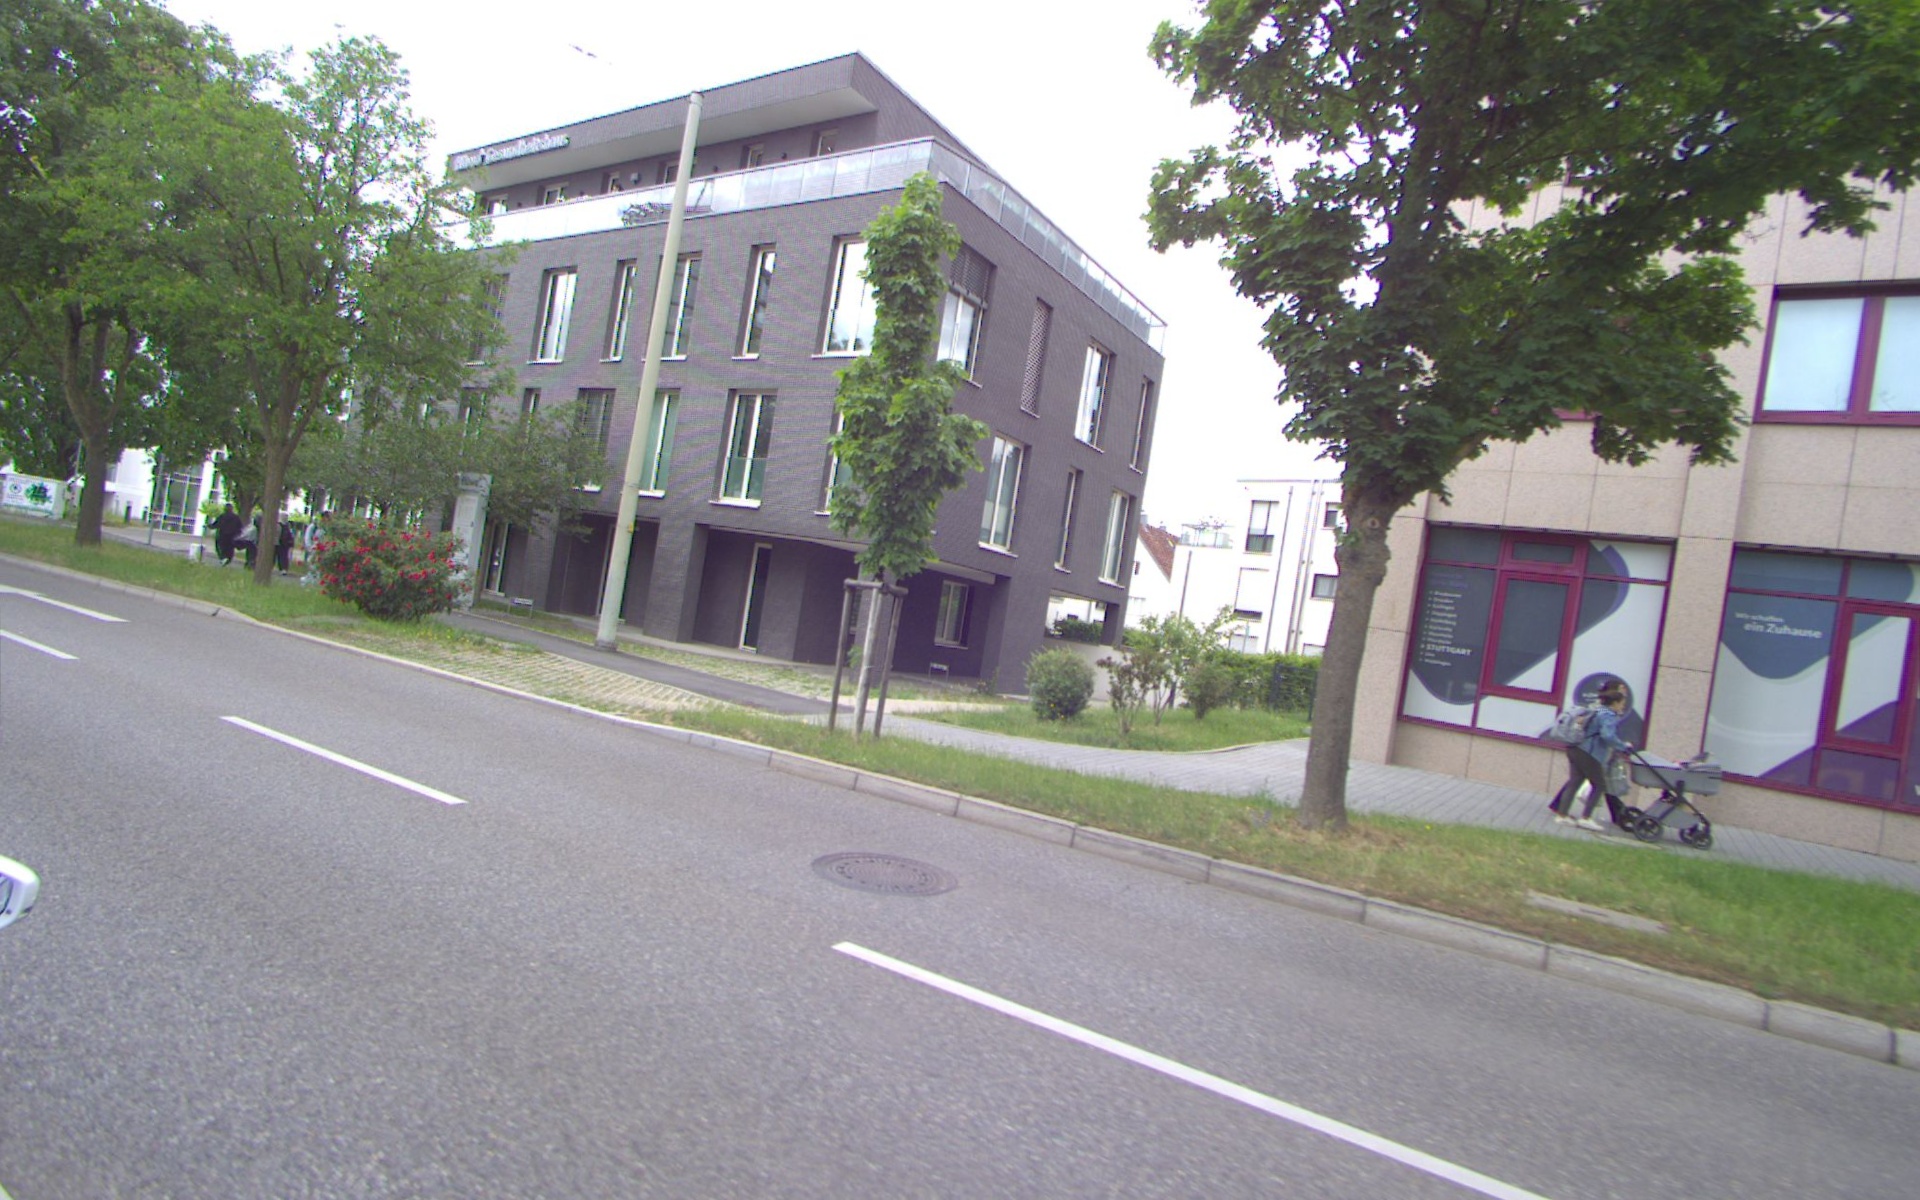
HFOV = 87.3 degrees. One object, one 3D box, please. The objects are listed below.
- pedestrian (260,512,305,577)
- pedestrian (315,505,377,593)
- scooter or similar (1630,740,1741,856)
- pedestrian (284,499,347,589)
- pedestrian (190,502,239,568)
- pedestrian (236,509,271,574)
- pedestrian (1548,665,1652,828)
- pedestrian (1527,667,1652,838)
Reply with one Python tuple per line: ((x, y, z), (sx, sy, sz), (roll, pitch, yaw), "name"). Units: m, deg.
((-17.724, -1.458, 26.323), (0.732, 1.570, 0.589), (8, 0, 35), "pedestrian")
((-13.814, -1.151, 22.649), (0.937, 1.796, 0.609), (10, 1, 31), "pedestrian")
((7.684, 2.075, 10.677), (0.833, 1.006, 0.583), (8, 1, 36), "scooter or similar")
((-14.116, -1.230, 22.035), (0.937, 1.796, 0.609), (10, 1, 31), "pedestrian")
((-19.193, -1.666, 25.903), (0.578, 1.570, 0.726), (8, 0, 35), "pedestrian")
((-18.040, -1.489, 25.688), (0.553, 1.570, 0.409), (7, -1, 35), "pedestrian")
((7.421, 1.674, 11.665), (0.816, 1.720, 0.567), (7, 0, 35), "pedestrian")
((6.932, 1.647, 11.085), (0.946, 1.673, 0.555), (8, 1, 36), "pedestrian")
